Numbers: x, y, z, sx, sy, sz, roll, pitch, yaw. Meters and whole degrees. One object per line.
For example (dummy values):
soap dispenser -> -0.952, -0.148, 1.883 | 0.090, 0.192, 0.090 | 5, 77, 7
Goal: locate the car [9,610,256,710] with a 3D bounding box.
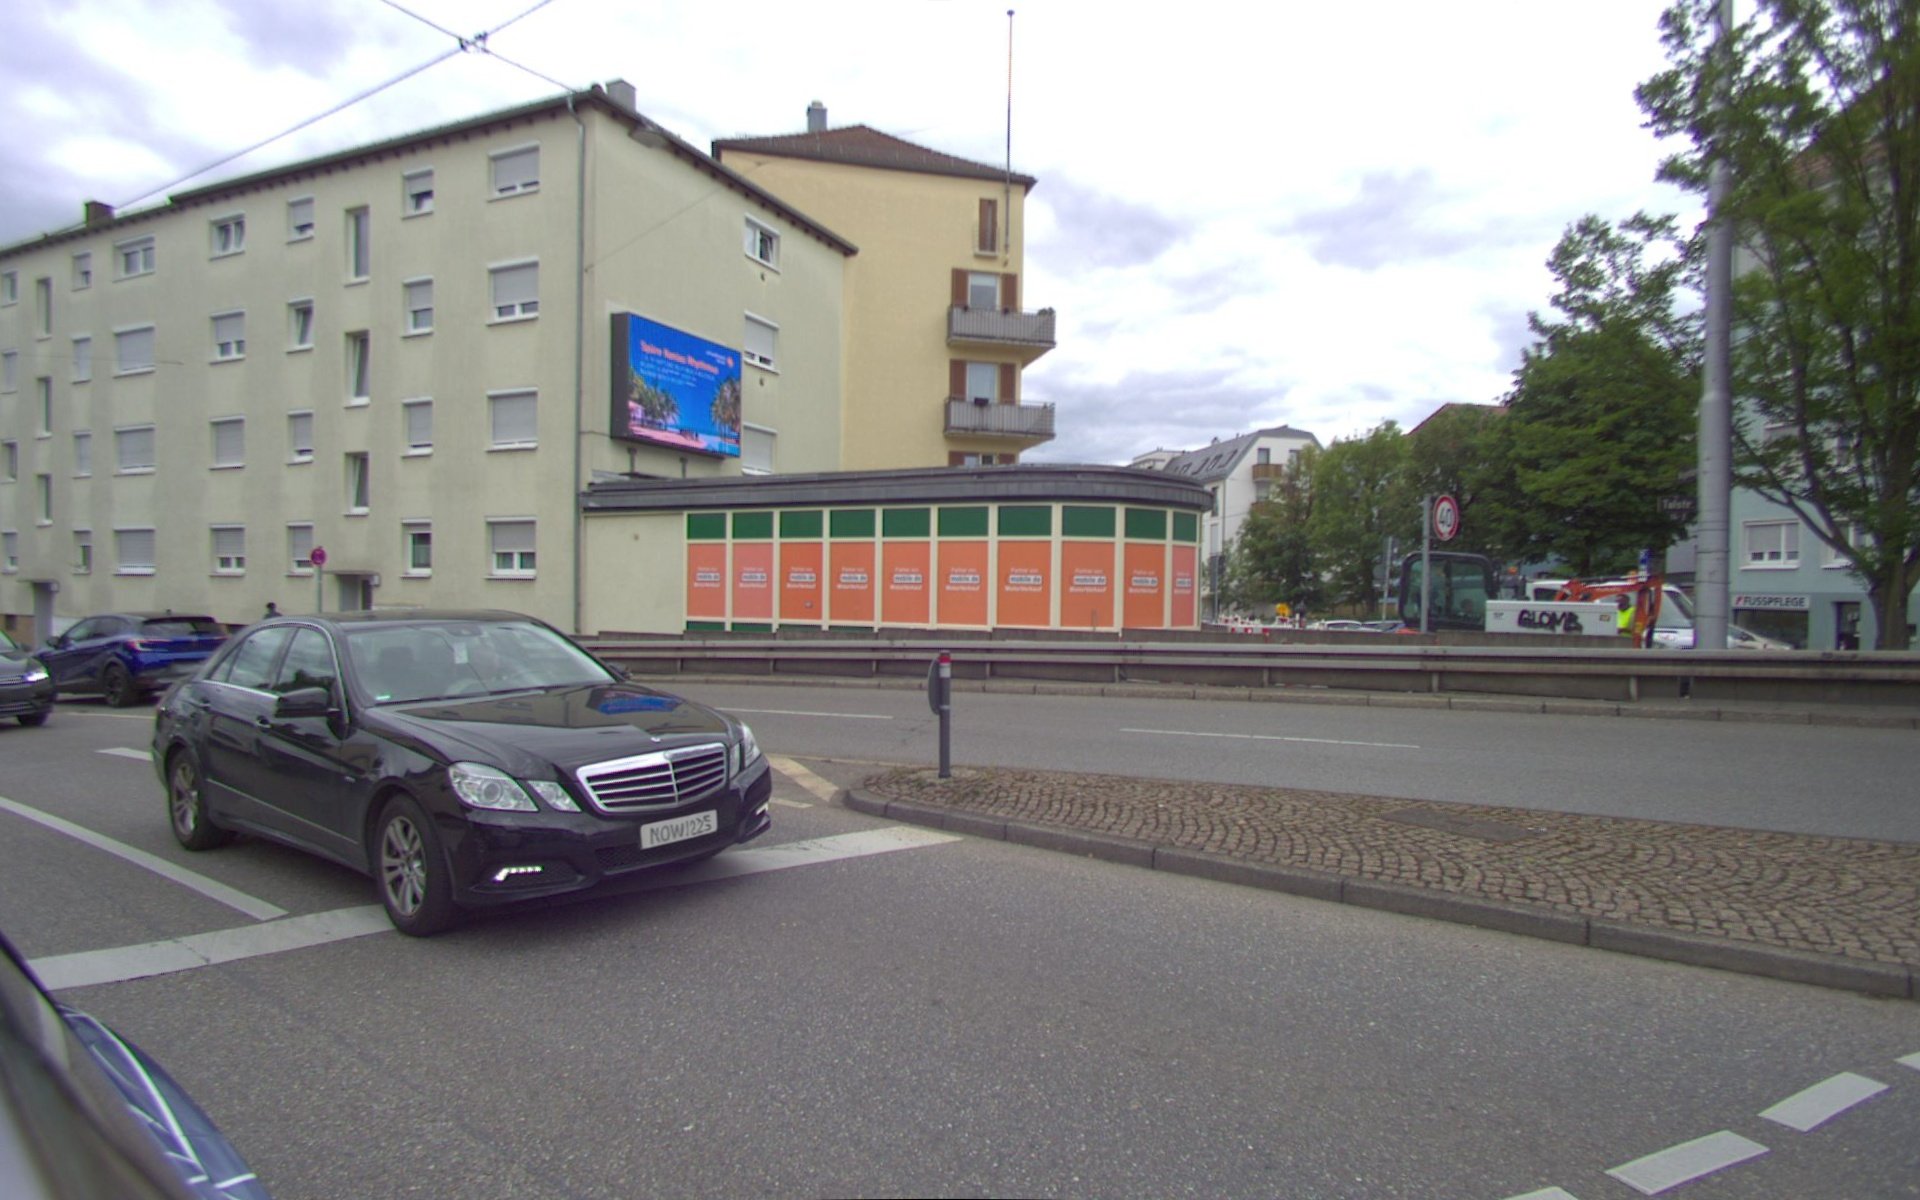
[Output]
car -> -14.412, 0.999, 17.621 | 4.012, 1.543, 1.778 | -1, 0, 25

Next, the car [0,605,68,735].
car -> -14.164, 0.922, 13.715 | 4.463, 1.623, 1.844 | -1, 1, 31

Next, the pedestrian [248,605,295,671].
pedestrian -> -17.489, 0.953, 25.710 | 0.774, 1.649, 0.685 | -1, 0, 24

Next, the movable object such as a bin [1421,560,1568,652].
movable object such as a bin -> 13.977, 0.122, 26.224 | 2.392, 2.087, 6.175 | -1, 0, 37

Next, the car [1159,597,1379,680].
car -> 6.485, 0.759, 21.447 | 3.934, 1.564, 2.005 | -1, 0, -12

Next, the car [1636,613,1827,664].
car -> 22.618, 1.114, 29.871 | 4.129, 1.380, 1.778 | -1, 0, 23

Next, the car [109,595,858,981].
car -> -3.093, 0.760, 6.087 | 4.832, 1.439, 1.976 | -1, 0, 36

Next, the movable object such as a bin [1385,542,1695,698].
movable object such as a bin -> 8.004, 0.300, 14.284 | 3.504, 2.029, 1.372 | -1, -1, 16

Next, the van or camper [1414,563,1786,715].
van or camper -> 11.539, 0.619, 19.064 | 2.646, 2.356, 6.015 | -1, 0, -7
